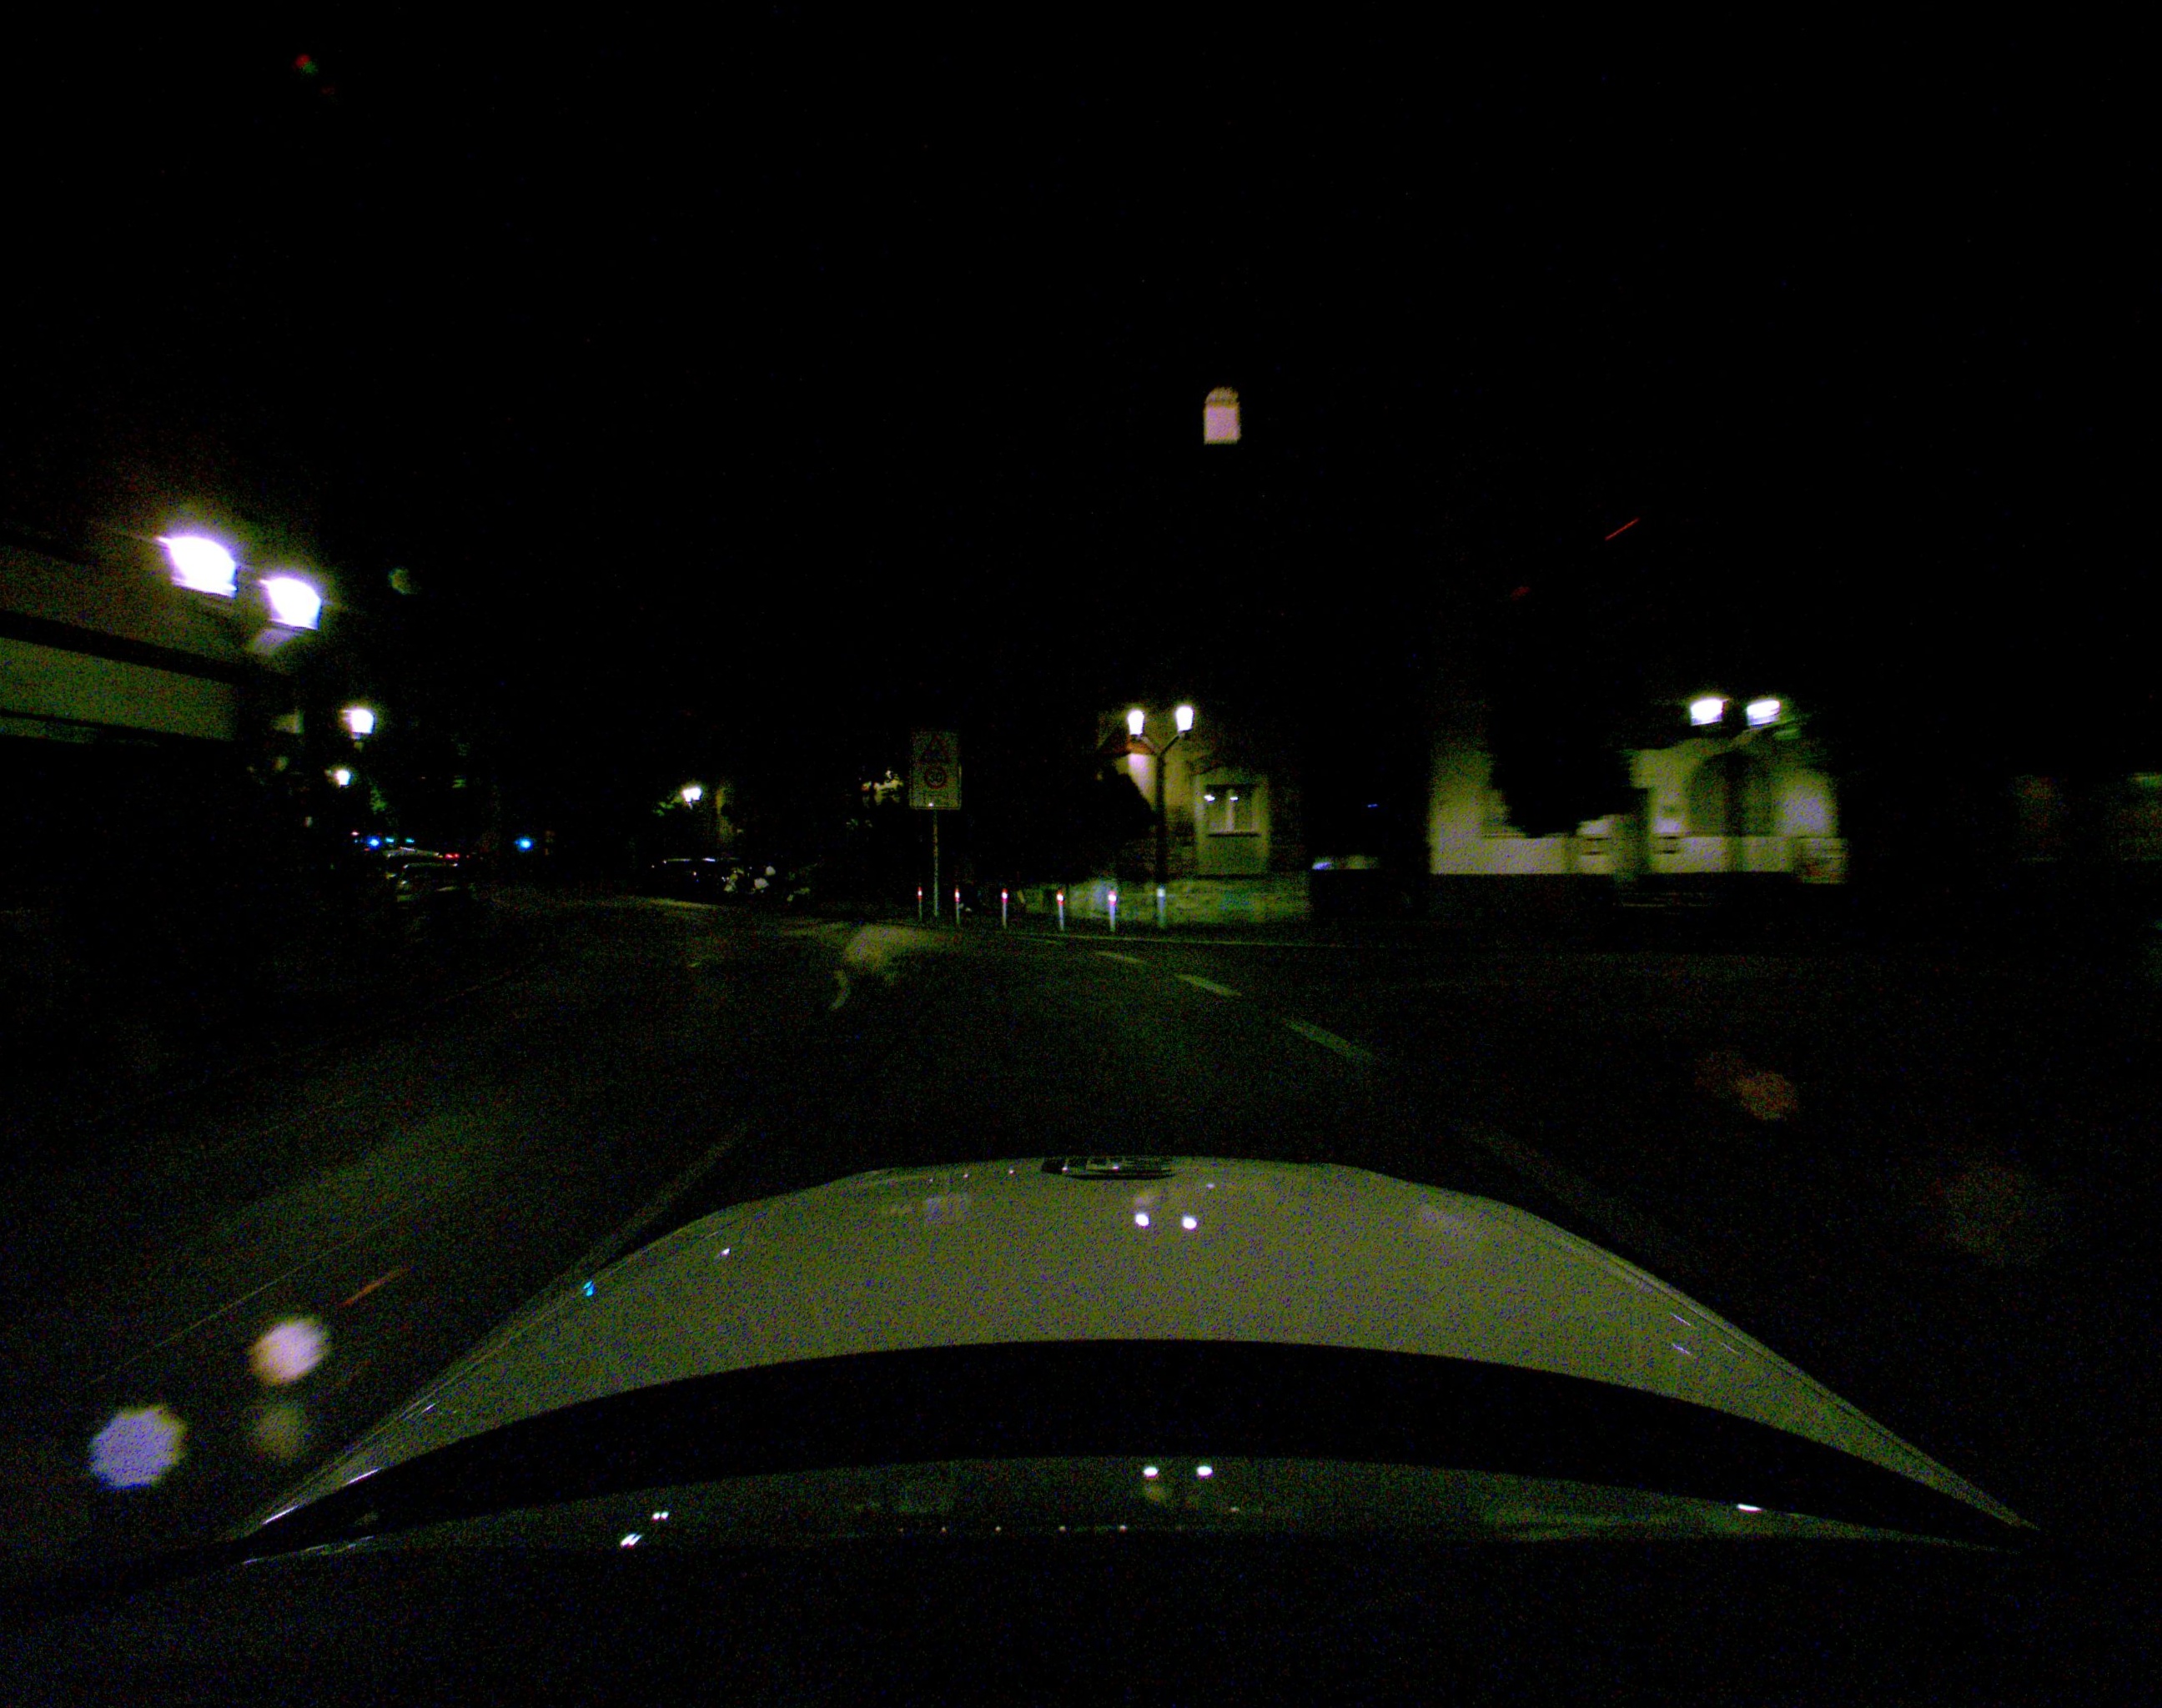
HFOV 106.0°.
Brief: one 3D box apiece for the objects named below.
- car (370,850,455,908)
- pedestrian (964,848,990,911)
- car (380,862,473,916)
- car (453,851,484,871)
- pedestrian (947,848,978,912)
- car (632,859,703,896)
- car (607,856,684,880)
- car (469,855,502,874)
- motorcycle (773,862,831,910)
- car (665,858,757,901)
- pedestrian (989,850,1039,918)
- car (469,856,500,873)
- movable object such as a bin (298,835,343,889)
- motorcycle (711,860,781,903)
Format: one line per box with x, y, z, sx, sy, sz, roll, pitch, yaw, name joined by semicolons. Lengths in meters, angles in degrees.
-23.556;0.817;28.637;1.900;1.843;4.755;1;-1;-44;car
-2.921;0.703;22.799;0.481;1.709;0.564;0;0;-43;pedestrian
-19.662;0.987;24.377;1.855;1.450;4.822;1;-1;-42;car
-57.706;0.639;76.716;1.751;1.855;4.263;-1;1;-45;car
-3.227;0.703;22.195;0.511;1.709;0.696;0;0;-43;pedestrian
-17.487;0.934;34.328;1.751;1.454;3.952;-1;0;-41;car
-28.462;0.908;53.296;1.829;1.422;4.051;-3;-2;45;car
-50.277;0.863;68.757;1.755;1.477;3.951;-3;2;-43;car
-8.454;0.950;24.767;0.755;1.353;1.951;-1;0;12;motorcycle
-13.918;0.909;30.516;1.748;1.501;4.412;0;0;-44;car
-1.667;0.718;20.211;0.954;1.631;0.814;-1;-1;44;pedestrian
-53.017;0.885;72.348;1.701;1.420;4.389;-1;1;-43;car
-39.187;0.381;42.020;1.585;2.626;3.862;-1;0;-42;movable object such as a bin
-11.786;0.936;28.732;0.912;1.406;2.073;0;1;37;motorcycle
